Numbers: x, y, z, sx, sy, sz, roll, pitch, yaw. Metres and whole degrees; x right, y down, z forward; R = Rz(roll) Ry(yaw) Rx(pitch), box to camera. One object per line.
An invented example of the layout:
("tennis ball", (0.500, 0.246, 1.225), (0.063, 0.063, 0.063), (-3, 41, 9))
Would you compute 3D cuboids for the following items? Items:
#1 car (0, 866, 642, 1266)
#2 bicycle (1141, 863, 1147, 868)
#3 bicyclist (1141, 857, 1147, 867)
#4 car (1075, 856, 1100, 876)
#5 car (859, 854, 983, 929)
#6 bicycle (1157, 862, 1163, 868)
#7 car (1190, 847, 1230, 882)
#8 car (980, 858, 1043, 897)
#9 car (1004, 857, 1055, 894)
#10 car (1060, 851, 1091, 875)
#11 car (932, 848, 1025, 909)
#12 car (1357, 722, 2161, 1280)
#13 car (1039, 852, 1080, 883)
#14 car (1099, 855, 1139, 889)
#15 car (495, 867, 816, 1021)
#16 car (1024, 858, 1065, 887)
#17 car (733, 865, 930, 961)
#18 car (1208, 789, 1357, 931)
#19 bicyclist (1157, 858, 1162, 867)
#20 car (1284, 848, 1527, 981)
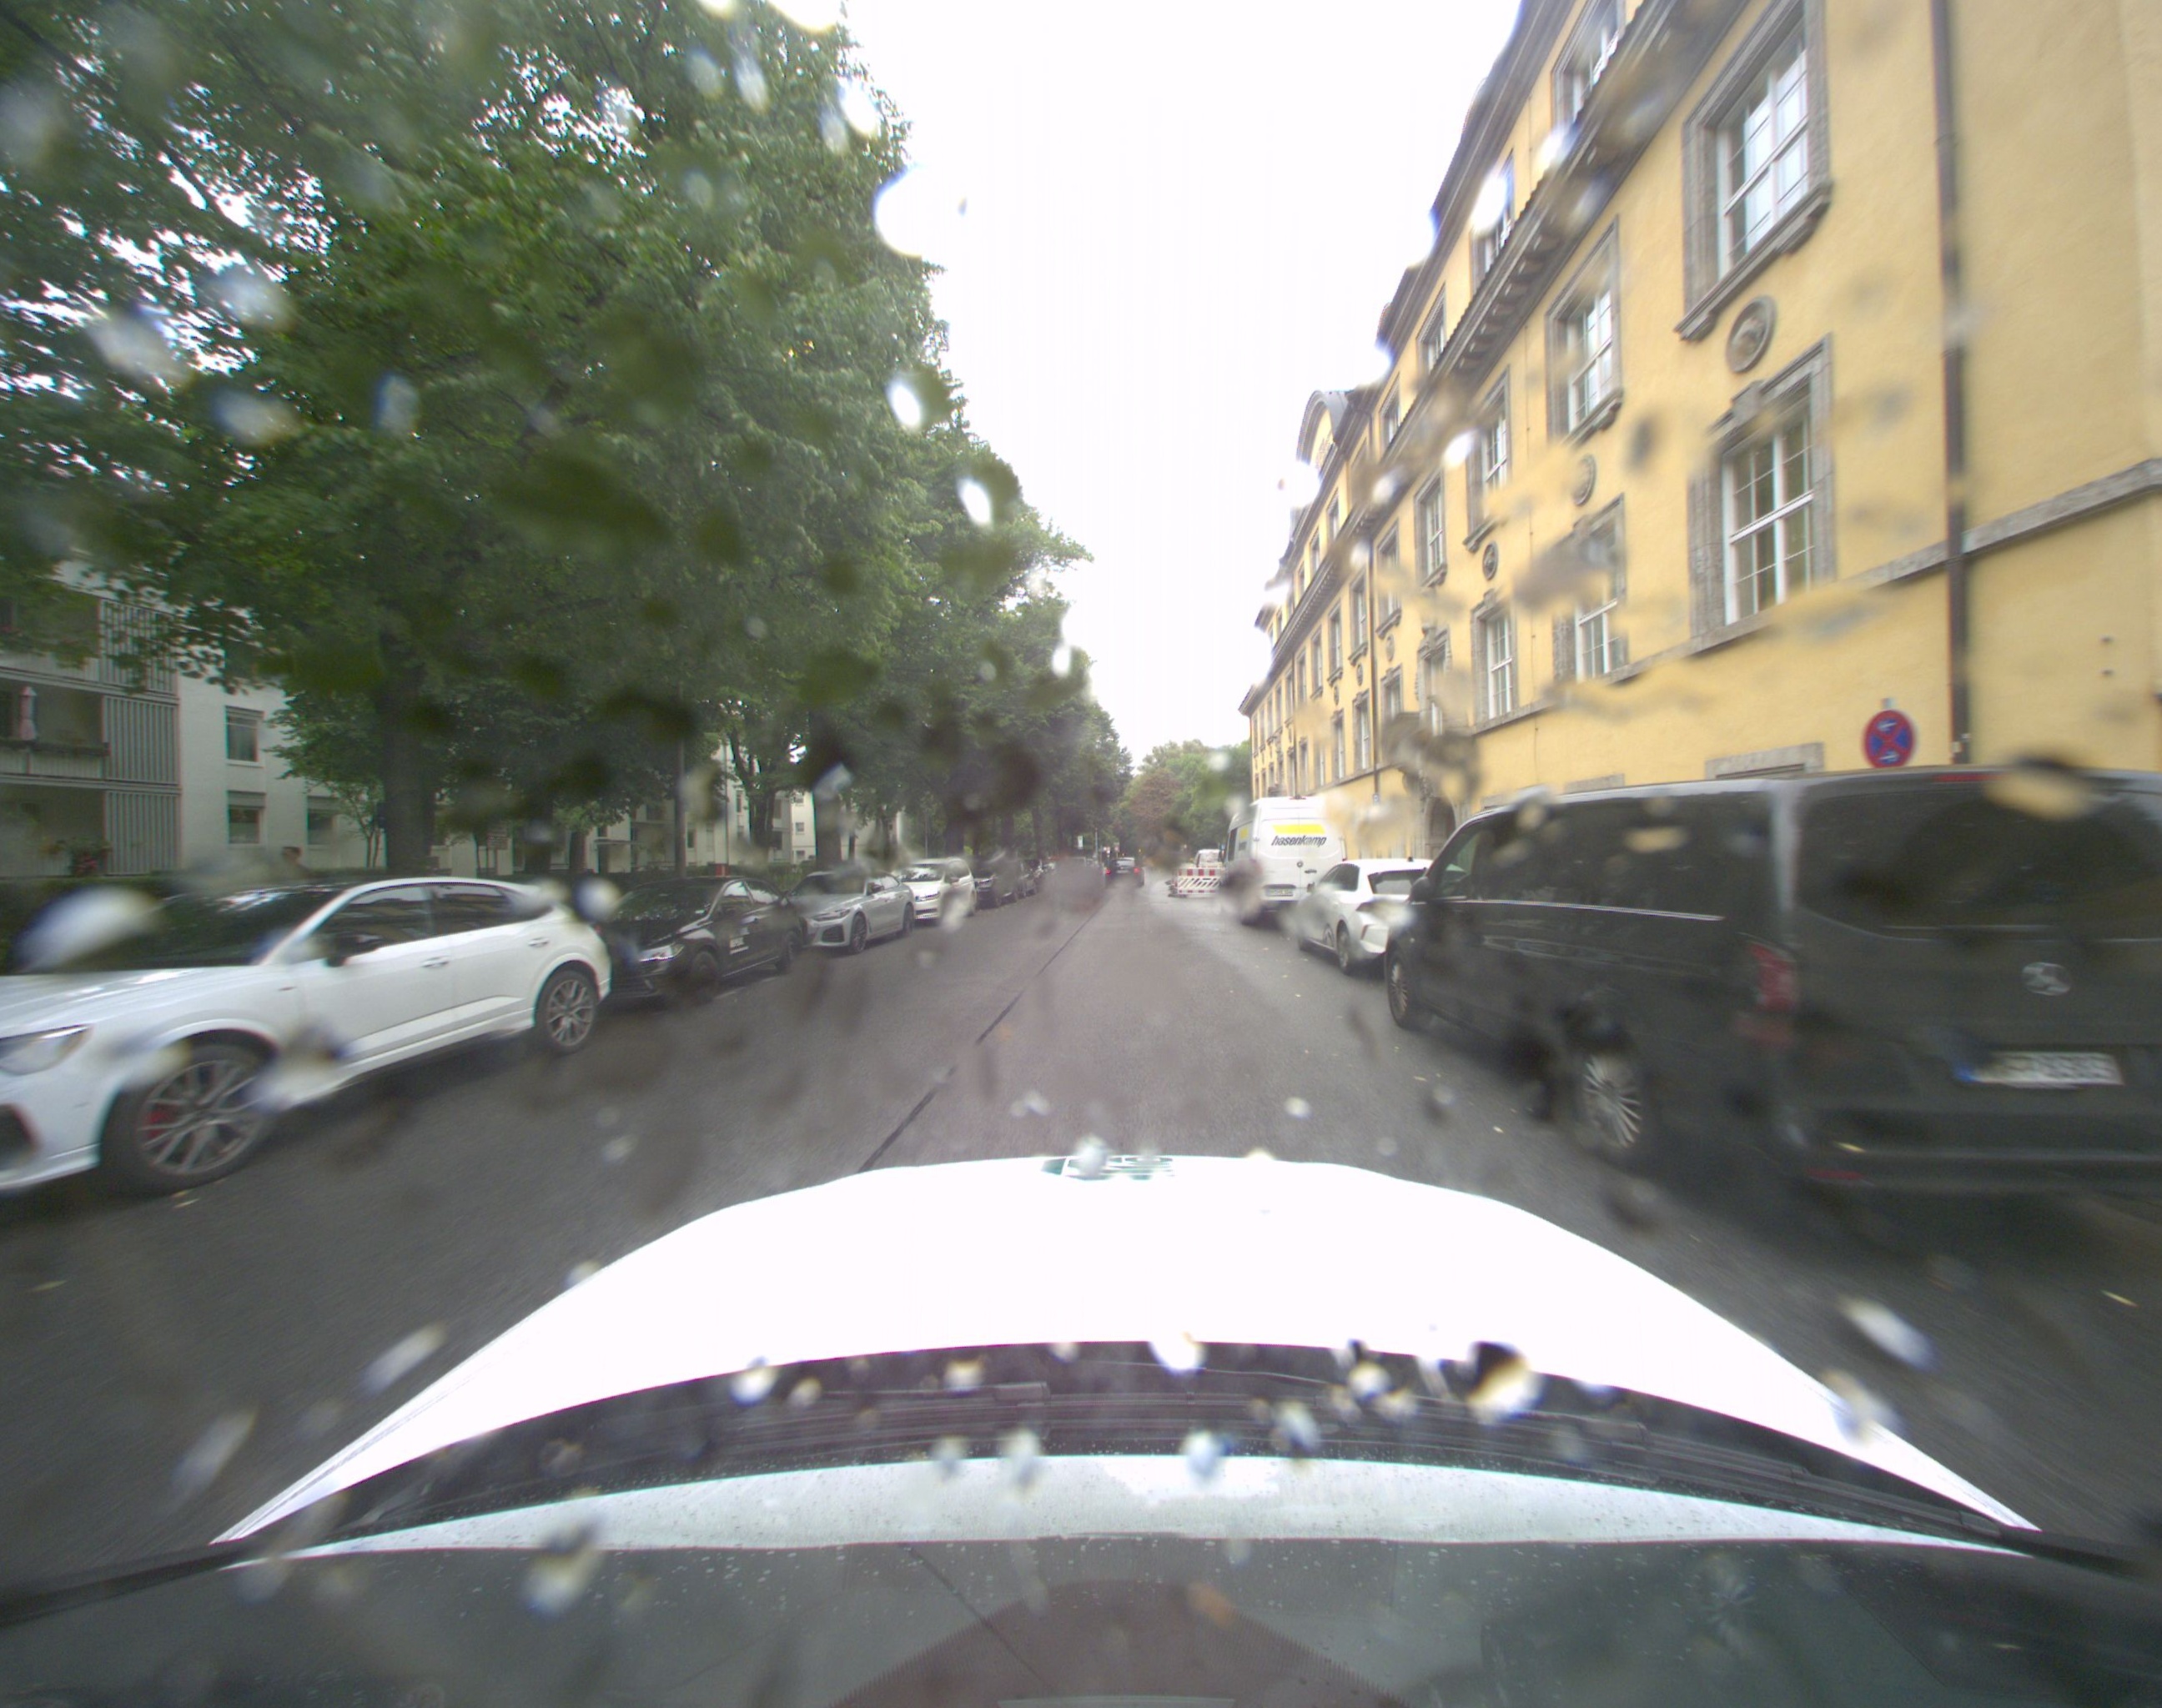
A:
("car", (-5.197, 0.923, 5.465), (1.776, 1.597, 4.588), (-2, -1, 3))
("bicycle", (9.821, 1.815, 126.449), (0.678, 0.830, 2.107), (-1, -1, -4))
("bicyclist", (9.793, 1.283, 126.577), (0.679, 1.504, 0.900), (-2, 0, -3))
("car", (0.539, 0.935, 65.394), (1.570, 1.497, 4.205), (-2, 0, 5))
("car", (-3.982, 0.894, 21.097), (1.756, 1.622, 4.531), (-4, -1, 7))
("bicycle", (10.996, 1.517, 113.410), (0.676, 0.830, 2.113), (-2, -1, 6))
("car", (6.940, 0.563, 44.087), (1.732, 1.750, 4.360), (-2, -1, 4))
("car", (-2.781, 0.908, 33.607), (1.710, 1.451, 4.703), (-2, 0, 6))
("car", (-2.375, 0.987, 38.992), (1.778, 1.574, 4.491), (-2, 0, 4))
("car", (-0.369, 0.654, 59.208), (1.806, 1.601, 4.520), (-2, 0, 5))
("car", (-3.375, 0.786, 27.823), (1.983, 1.797, 4.929), (-3, -1, 6))
("car", (3.456, 0.517, 5.254), (1.863, 1.869, 4.991), (-2, -1, 3))
("car", (-1.297, 0.811, 50.375), (1.863, 1.728, 4.649), (-2, 0, 6))
("car", (1.939, 0.872, 40.561), (1.568, 1.584, 4.053), (-2, 0, 8))
("car", (-4.939, 0.937, 10.213), (1.665, 1.469, 4.107), (-2, -1, 3))
("car", (-1.944, 0.991, 44.436), (1.719, 1.423, 4.256), (-2, 0, 4))
("car", (-4.466, 0.975, 15.527), (1.801, 1.469, 5.003), (-2, -1, 5))
("car", (4.462, 0.149, 19.473), (2.046, 2.673, 7.620), (-2, -1, 3))
("bicyclist", (10.980, 1.137, 113.419), (0.677, 1.187, 0.482), (-2, 0, 5))
("car", (4.195, 0.705, 11.350), (1.863, 1.458, 4.258), (-2, -1, 3))
